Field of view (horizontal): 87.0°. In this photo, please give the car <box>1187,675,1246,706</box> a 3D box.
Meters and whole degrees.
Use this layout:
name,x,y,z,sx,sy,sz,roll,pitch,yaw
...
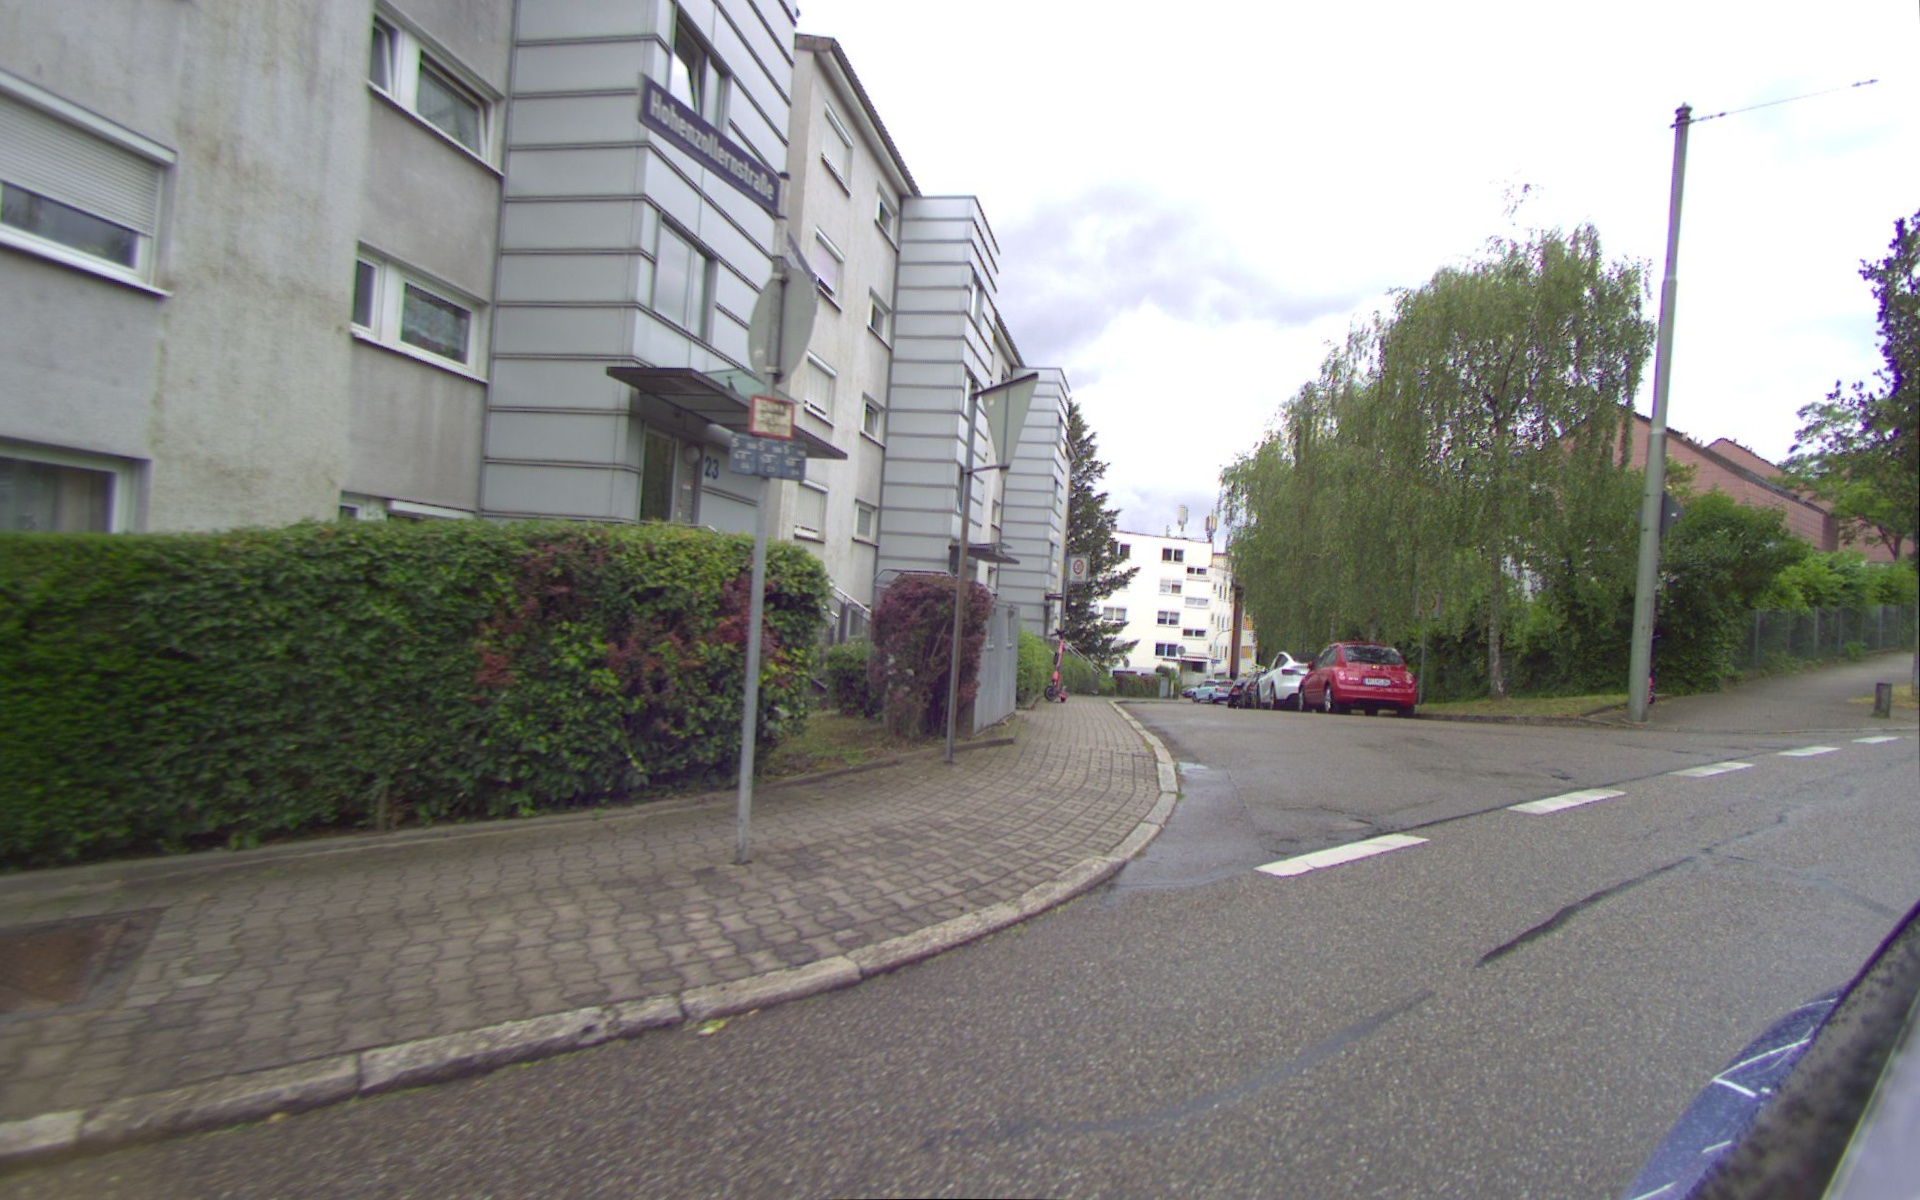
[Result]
name,x,y,z,sx,sy,sz,roll,pitch,yaw
car,17.841,6.306,70.640,1.803,1.841,4.005,1,-2,-26

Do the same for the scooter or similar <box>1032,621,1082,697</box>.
name,x,y,z,sx,sy,sz,roll,pitch,yaw
scooter or similar,1.662,1.018,17.211,0.491,1.199,1.196,5,-3,18

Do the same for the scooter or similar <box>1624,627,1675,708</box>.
name,x,y,z,sx,sy,sz,roll,pitch,yaw
scooter or similar,11.634,1.115,17.065,1.245,1.270,0.343,-1,-1,-39

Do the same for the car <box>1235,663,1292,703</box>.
name,x,y,z,sx,sy,sz,roll,pitch,yaw
car,11.306,3.091,37.935,1.569,1.397,3.885,0,-4,10

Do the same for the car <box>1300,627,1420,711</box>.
name,x,y,z,sx,sy,sz,roll,pitch,yaw
car,8.278,1.486,21.211,1.619,1.543,3.556,2,-5,10

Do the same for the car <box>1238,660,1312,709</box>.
name,x,y,z,sx,sy,sz,roll,pitch,yaw
car,10.071,2.763,32.616,1.699,1.441,4.285,0,-6,10

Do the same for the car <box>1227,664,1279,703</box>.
name,x,y,z,sx,sy,sz,roll,pitch,yaw
car,12.874,3.709,44.681,1.970,1.617,3.980,0,-5,13

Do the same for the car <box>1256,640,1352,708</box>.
name,x,y,z,sx,sy,sz,roll,pitch,yaw
car,8.931,2.001,26.630,1.699,1.563,4.356,0,-7,10
